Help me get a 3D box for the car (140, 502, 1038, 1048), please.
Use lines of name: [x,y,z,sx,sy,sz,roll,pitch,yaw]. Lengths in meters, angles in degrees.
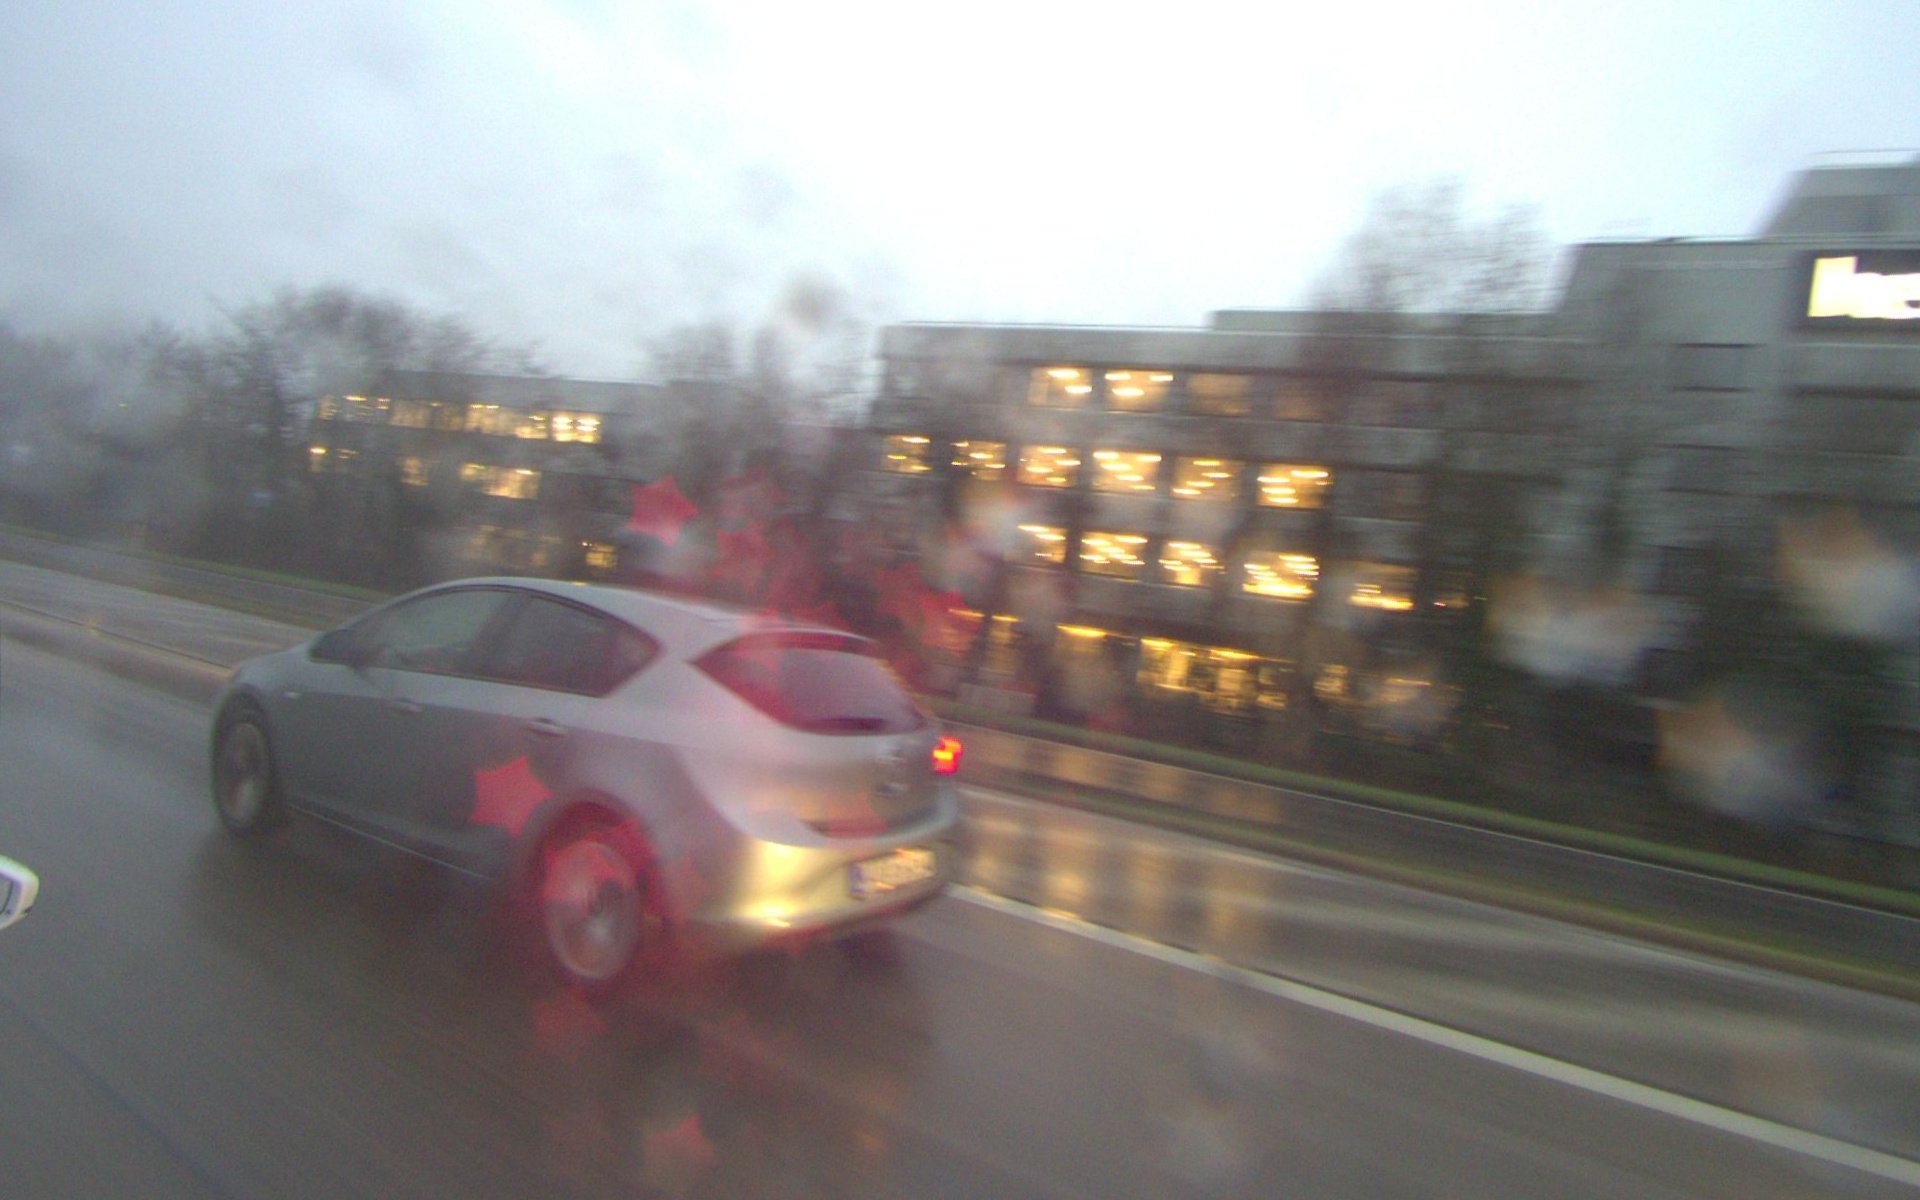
car: [-1.973,0.534,5.027,4.191,1.519,1.853,7,-2,31]
